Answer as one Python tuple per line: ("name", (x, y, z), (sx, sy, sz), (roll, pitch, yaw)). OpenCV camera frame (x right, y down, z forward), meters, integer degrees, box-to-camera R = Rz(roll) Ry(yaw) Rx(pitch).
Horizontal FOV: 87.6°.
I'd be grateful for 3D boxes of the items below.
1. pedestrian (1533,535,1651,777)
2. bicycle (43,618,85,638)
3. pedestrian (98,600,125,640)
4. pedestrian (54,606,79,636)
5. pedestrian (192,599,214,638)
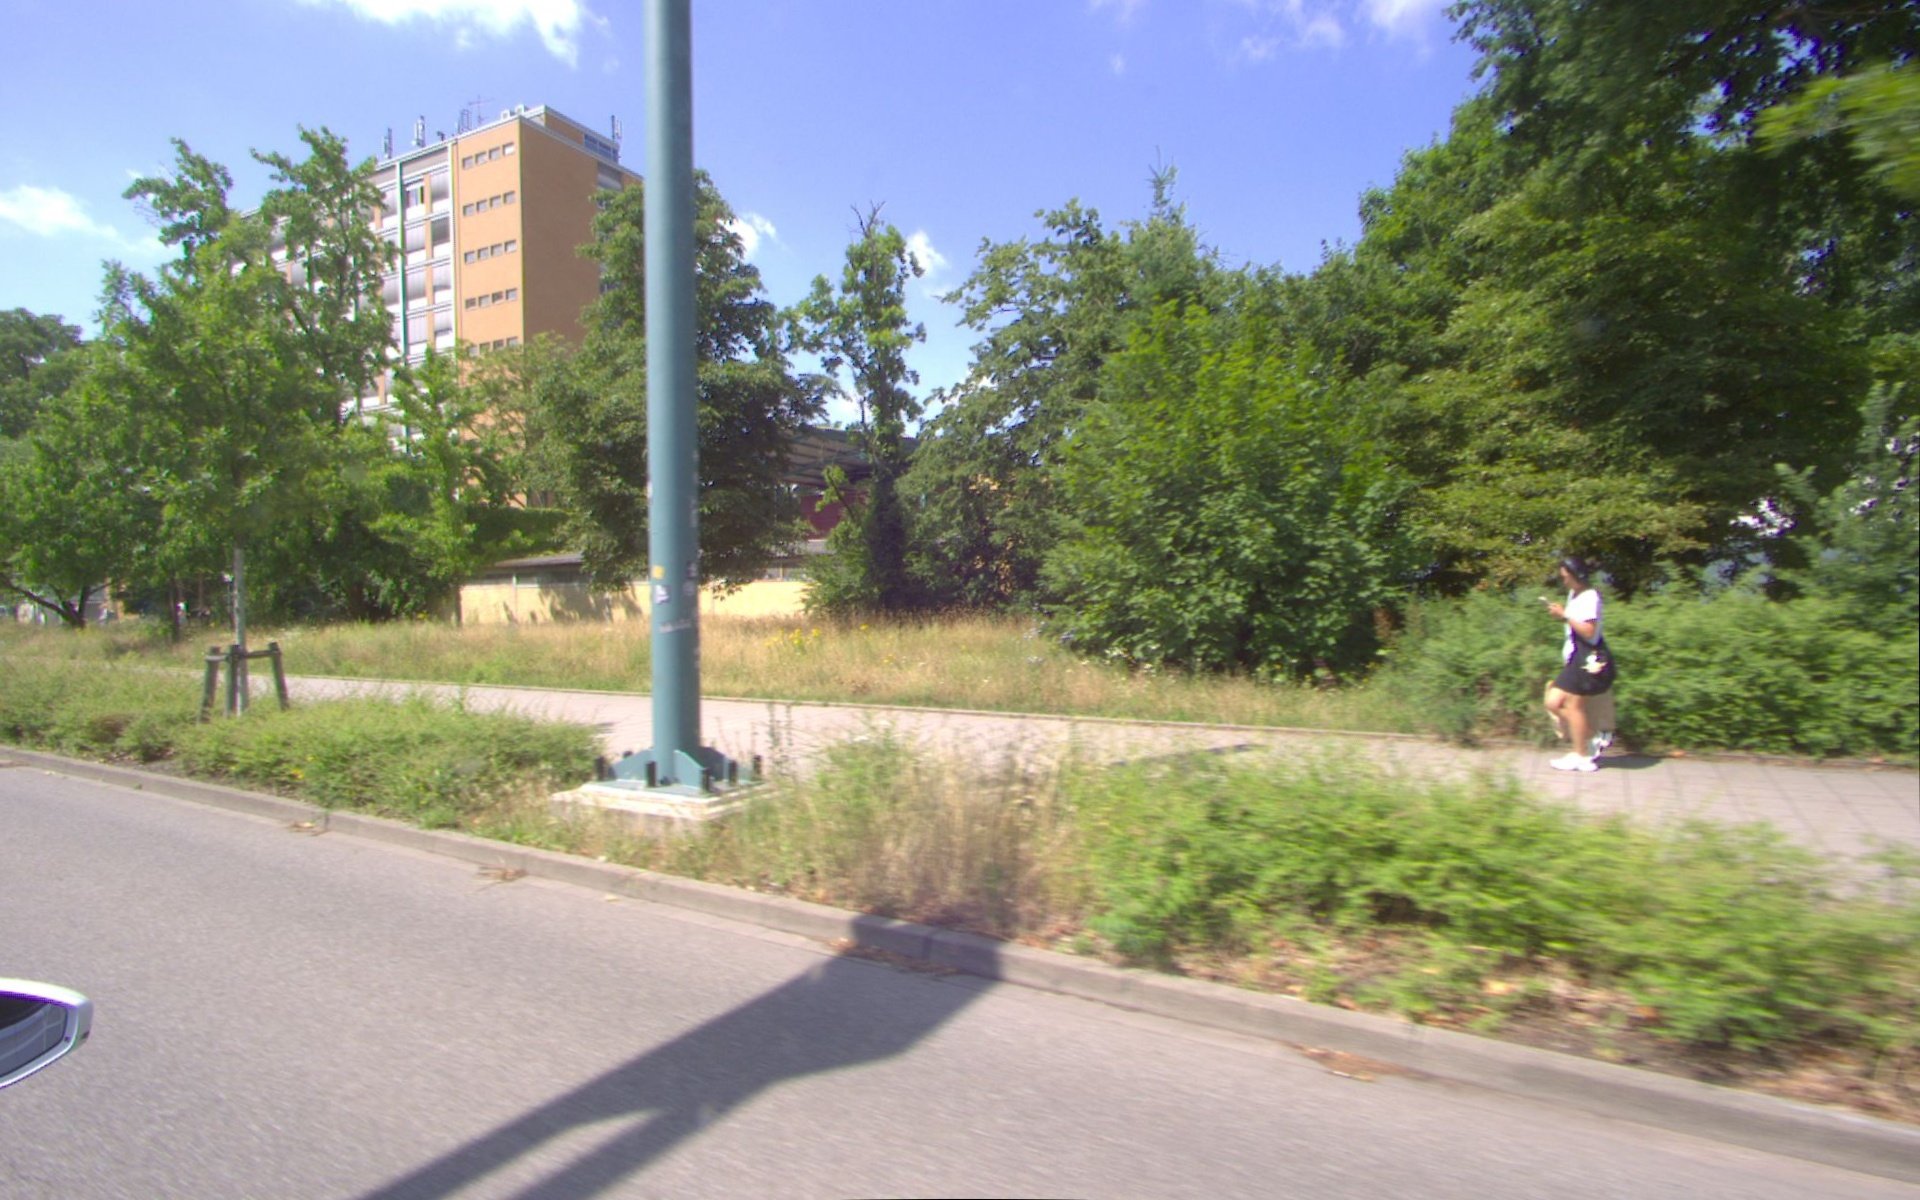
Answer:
("pedestrian", (4.851, 0.409, 7.699), (0.736, 1.744, 0.721), (0, 0, 33))
("bicycle", (-44.835, 1.411, 50.122), (1.557, 0.968, 0.482), (0, 0, -39))
("pedestrian", (-44.425, 1.026, 52.428), (0.832, 2.085, 0.740), (0, 1, 16))
("pedestrian", (-44.772, 1.063, 50.162), (0.891, 1.491, 0.482), (0, 1, -39))
("pedestrian", (-40.881, 0.992, 54.080), (0.835, 2.085, 0.737), (0, 1, -30))
